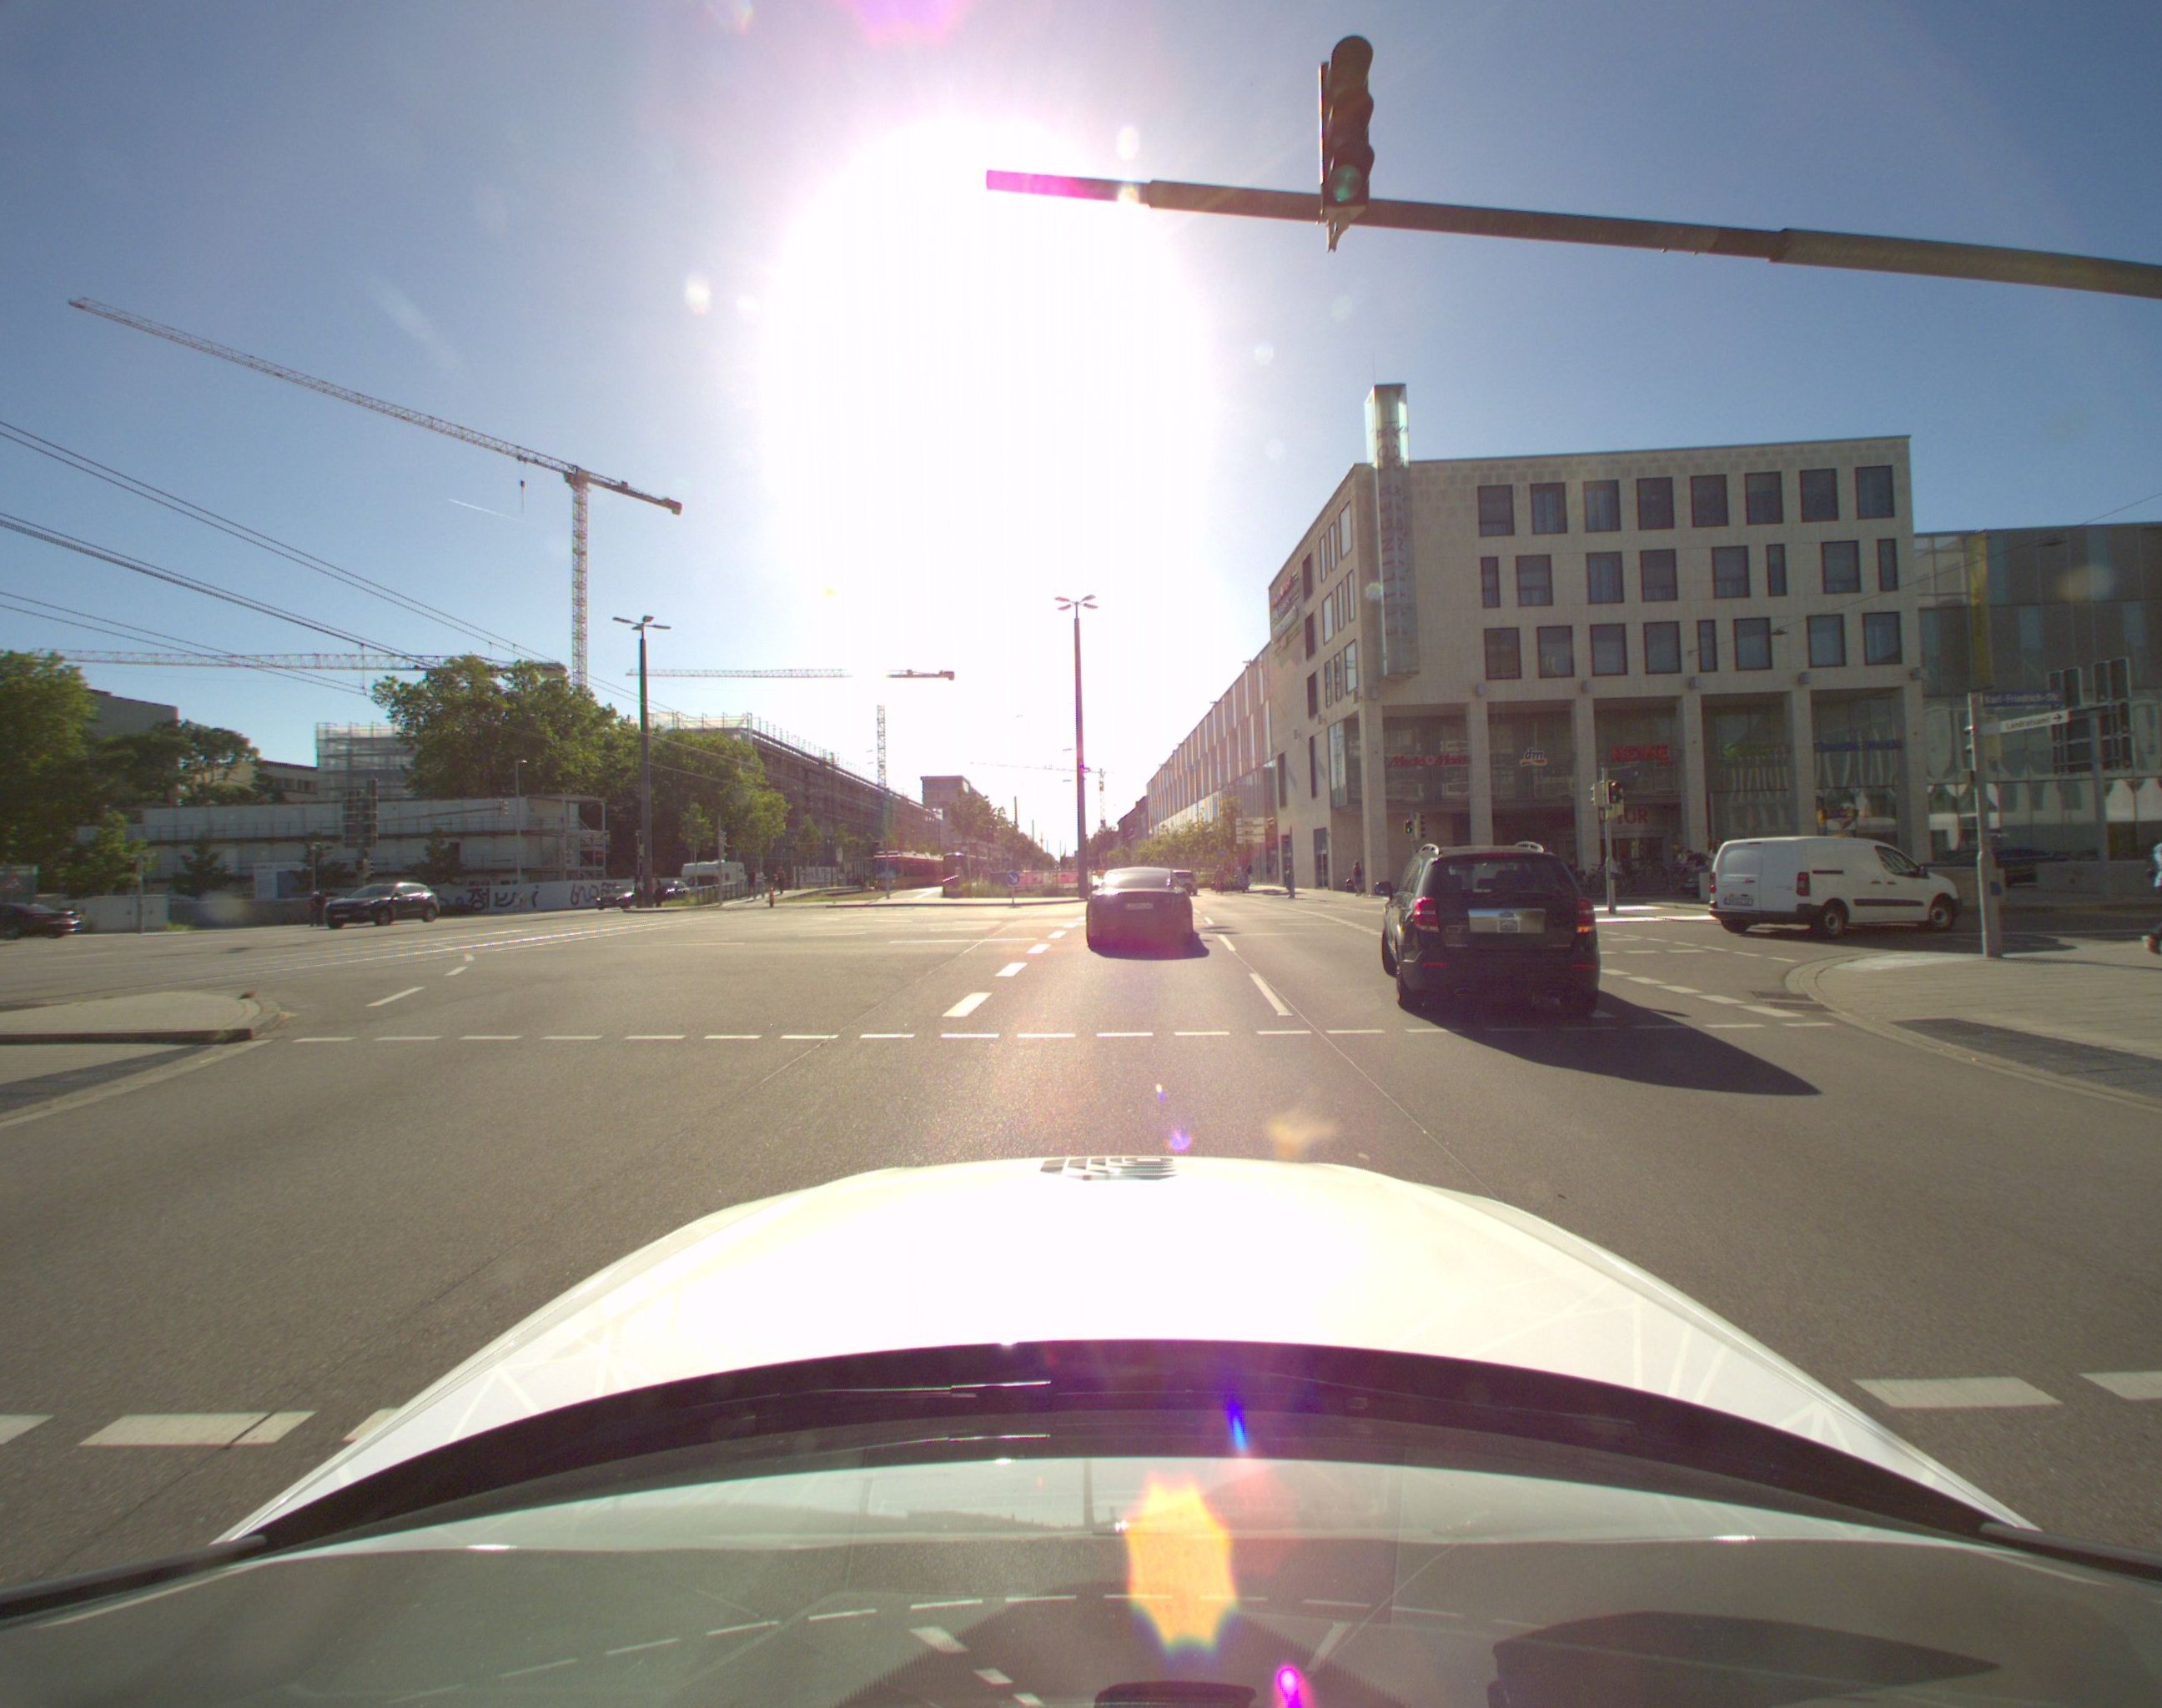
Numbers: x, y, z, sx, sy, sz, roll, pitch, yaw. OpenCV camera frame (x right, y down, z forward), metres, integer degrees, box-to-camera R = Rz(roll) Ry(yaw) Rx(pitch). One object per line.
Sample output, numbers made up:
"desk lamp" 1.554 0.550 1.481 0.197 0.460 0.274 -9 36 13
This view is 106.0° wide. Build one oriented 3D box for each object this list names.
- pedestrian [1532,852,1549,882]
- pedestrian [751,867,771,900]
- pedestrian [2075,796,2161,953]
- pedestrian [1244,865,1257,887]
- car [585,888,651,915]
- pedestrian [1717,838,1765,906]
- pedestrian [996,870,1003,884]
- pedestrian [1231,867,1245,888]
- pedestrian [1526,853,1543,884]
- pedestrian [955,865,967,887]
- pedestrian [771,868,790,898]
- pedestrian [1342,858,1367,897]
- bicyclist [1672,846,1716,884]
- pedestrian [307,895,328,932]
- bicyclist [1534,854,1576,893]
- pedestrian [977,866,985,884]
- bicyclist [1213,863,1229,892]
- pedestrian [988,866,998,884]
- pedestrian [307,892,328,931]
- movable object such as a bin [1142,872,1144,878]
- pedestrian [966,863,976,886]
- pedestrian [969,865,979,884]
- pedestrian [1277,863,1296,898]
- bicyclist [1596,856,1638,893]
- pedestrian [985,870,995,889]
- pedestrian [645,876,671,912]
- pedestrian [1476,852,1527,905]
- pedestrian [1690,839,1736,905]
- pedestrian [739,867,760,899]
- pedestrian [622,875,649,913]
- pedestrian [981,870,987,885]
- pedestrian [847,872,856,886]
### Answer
"pedestrian" 27.167 0.783 48.109 0.559 1.762 0.643 -1 -1 -37
"pedestrian" -18.332 1.669 46.674 0.798 1.823 0.975 -2 -1 -3
"pedestrian" 14.320 0.260 10.798 0.947 2.014 1.075 -1 -1 -12
"pedestrian" 13.306 1.746 63.944 0.705 1.658 0.898 -3 -1 -5
"car" -30.810 3.144 54.392 1.991 1.561 4.820 -2 -1 -6
"pedestrian" 16.247 0.447 20.049 0.660 1.612 0.525 -3 -2 -9
"pedestrian" -9.793 2.771 97.910 0.739 1.628 0.861 -1 -2 0
"pedestrian" 12.390 1.829 64.227 0.819 1.658 0.898 -1 -2 -5
"pedestrian" 26.458 0.840 47.536 0.559 1.762 0.643 -1 -1 -37
"pedestrian" -9.795 1.772 66.582 0.872 1.775 1.187 0 -1 -3
"pedestrian" -18.617 1.786 50.421 0.798 1.823 0.975 -2 -1 -3
"pedestrian" 13.092 1.132 39.010 0.726 1.801 1.066 -3 -1 -1
"bicyclist" 24.117 0.435 32.057 0.929 1.433 1.041 -2 -1 3
"pedestrian" -38.404 2.987 40.952 0.704 1.823 0.589 -1 -2 -38
"bicyclist" 18.693 0.781 32.120 1.017 1.476 1.073 -2 -1 3
"pedestrian" -10.615 2.243 86.299 0.670 1.811 1.074 -2 -2 -1
"bicyclist" 8.683 1.443 50.419 0.723 1.737 0.996 -2 -2 -4
"pedestrian" -9.589 2.286 88.782 0.884 1.851 1.007 -1 -2 -1
"pedestrian" -36.857 2.781 39.317 0.704 1.823 0.589 -1 -2 -38
"movable object such as a bin" 12.174 4.105 159.969 0.556 1.169 0.563 0 -2 3
"pedestrian" -8.595 1.603 63.557 0.701 1.775 0.958 0 -1 -3
"pedestrian" -10.088 1.964 76.700 0.789 1.775 0.977 0 -1 -4
"pedestrian" 10.306 1.342 40.806 0.655 1.702 0.697 -4 -1 -3
"bicyclist" 21.121 0.818 32.118 0.929 1.396 1.077 -2 -1 3
"pedestrian" -7.988 2.203 71.316 0.739 1.628 0.861 -1 -2 0
"pedestrian" -21.659 2.029 41.716 0.798 1.823 0.975 -2 -1 -3
"pedestrian" 15.336 0.892 29.769 0.964 1.801 1.522 -3 -1 -1
"pedestrian" 16.025 0.457 20.663 0.660 1.612 0.525 -3 -2 -9
"pedestrian" -19.736 1.725 48.502 0.798 1.823 0.975 -2 -1 -3
"pedestrian" -21.900 1.977 40.052 0.792 1.823 0.887 -2 -1 32
"pedestrian" -9.718 2.346 81.615 0.646 1.513 0.587 0 -1 -4
"pedestrian" -19.785 2.170 70.242 0.670 1.226 0.505 0 -2 -4
